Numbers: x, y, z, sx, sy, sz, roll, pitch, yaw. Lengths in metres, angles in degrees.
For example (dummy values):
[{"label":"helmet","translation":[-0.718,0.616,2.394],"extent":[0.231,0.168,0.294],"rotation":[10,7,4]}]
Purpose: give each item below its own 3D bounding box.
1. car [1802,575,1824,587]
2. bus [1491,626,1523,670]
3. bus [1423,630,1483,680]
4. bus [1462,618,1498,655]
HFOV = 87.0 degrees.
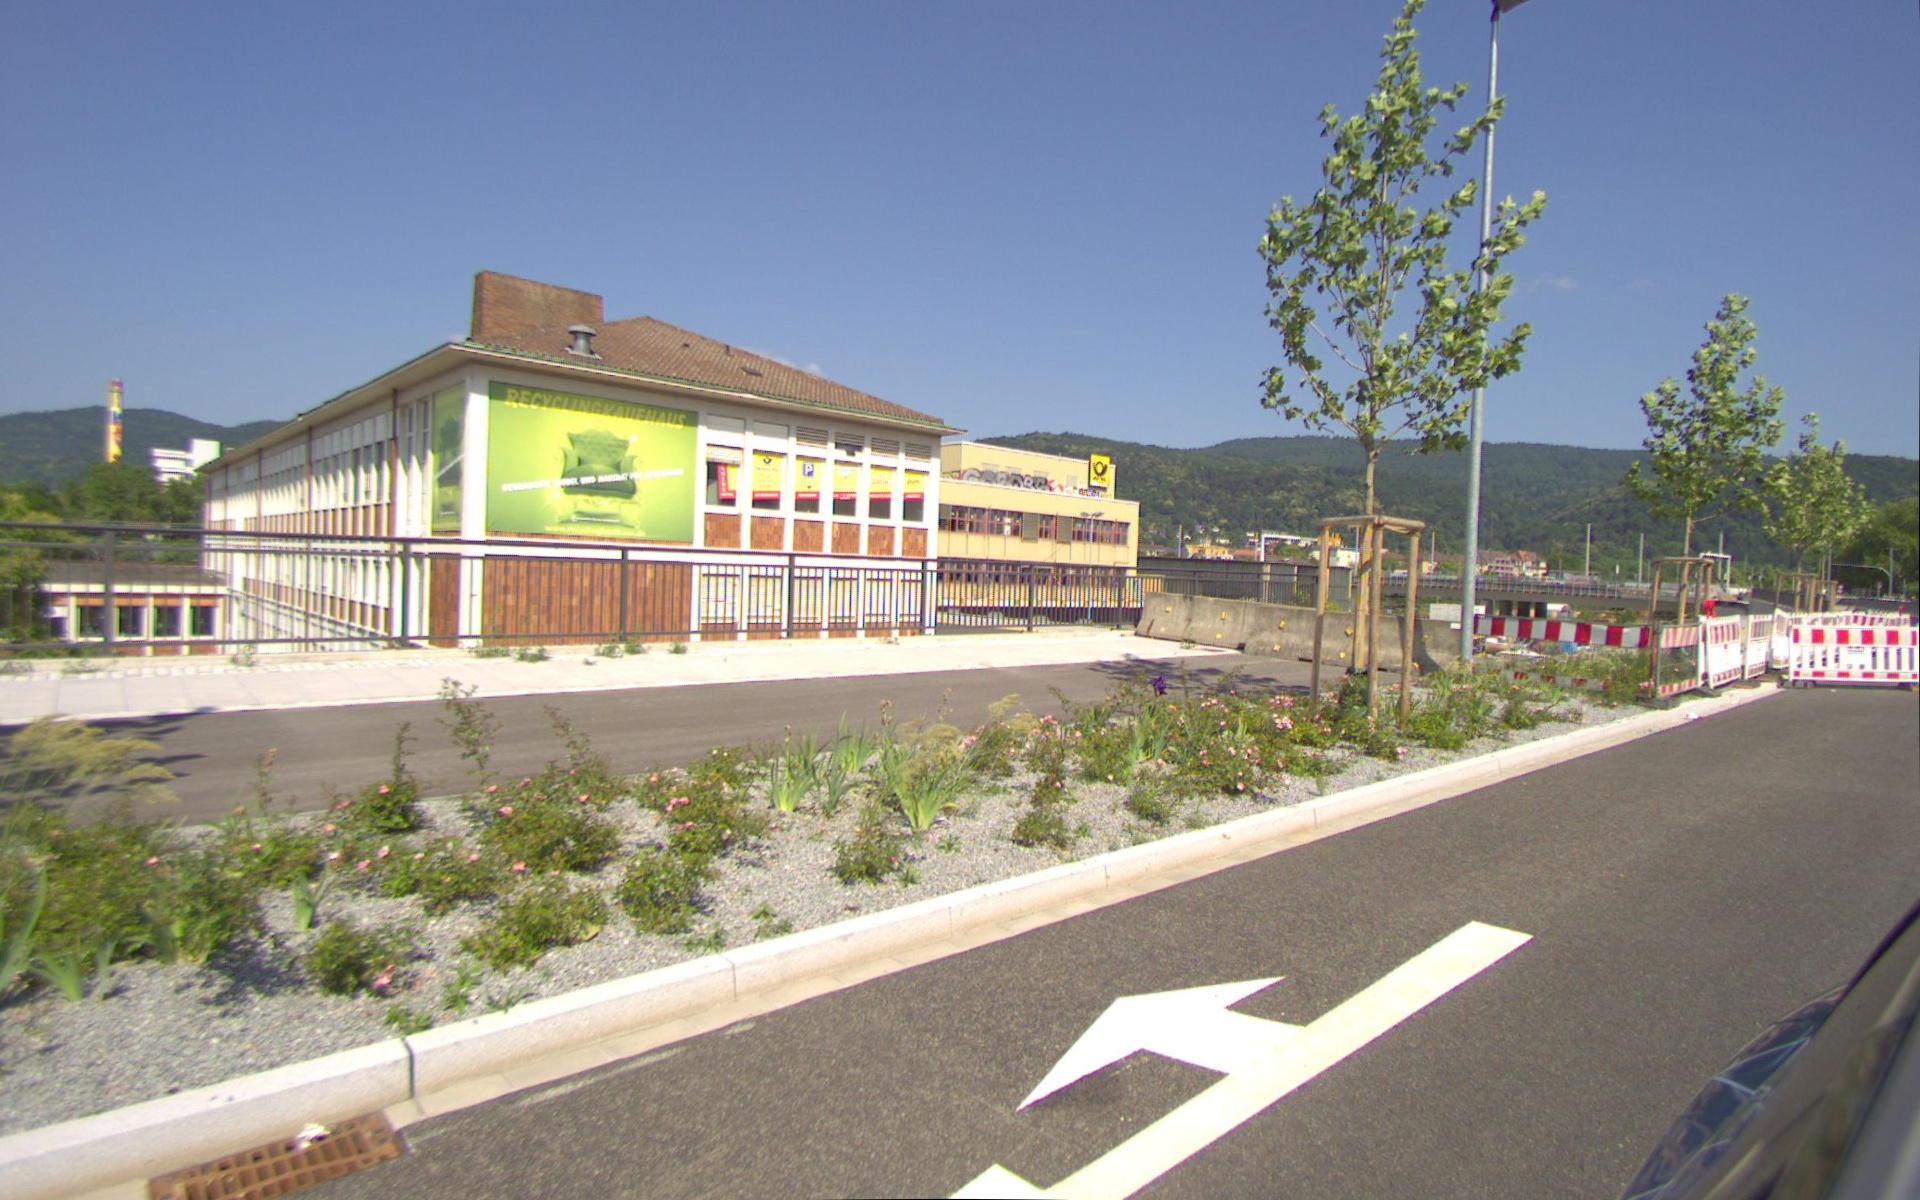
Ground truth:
[{"label":"car","translation":[105.361,-2.375,124.977],"extent":[1.609,1.459,3.722],"rotation":[3,2,34]},{"label":"bus","translation":[54.495,4.663,100.694],"extent":[2.529,3.575,12.411],"rotation":[1,2,29]},{"label":"bus","translation":[43.849,4.735,89.711],"extent":[2.536,3.575,12.376],"rotation":[2,2,36]},{"label":"bus","translation":[60.225,4.105,116.992],"extent":[2.532,3.575,12.396],"rotation":[1,2,32]}]
